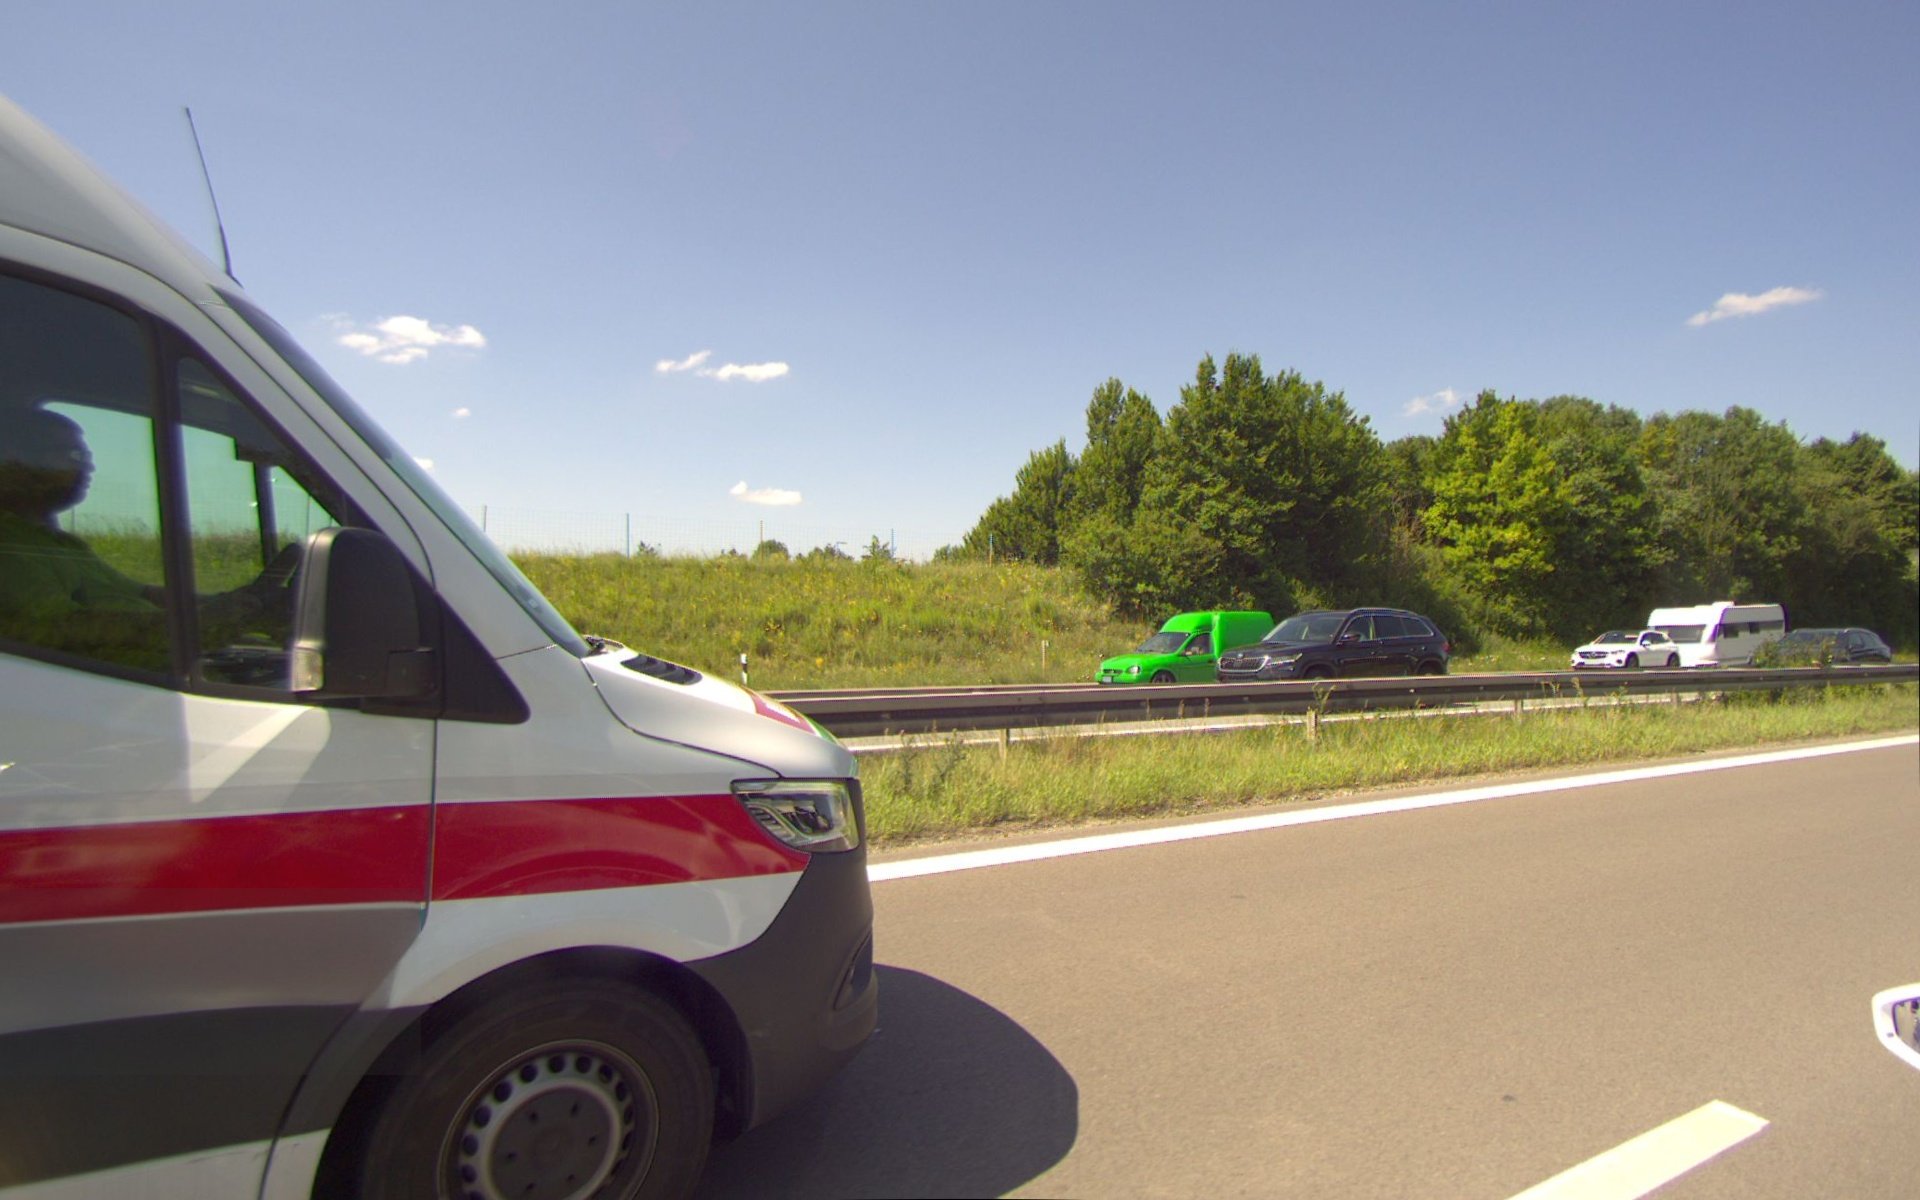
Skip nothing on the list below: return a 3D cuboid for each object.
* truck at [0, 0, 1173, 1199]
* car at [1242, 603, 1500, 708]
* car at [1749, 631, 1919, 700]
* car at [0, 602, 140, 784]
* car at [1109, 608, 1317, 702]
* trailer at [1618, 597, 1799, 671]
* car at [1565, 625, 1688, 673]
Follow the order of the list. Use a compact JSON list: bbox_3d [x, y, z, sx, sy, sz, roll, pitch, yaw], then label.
[{"bbox_3d":[-2.751,0.106,1.940,6.616,2.576,1.983,1,0,-32],"label":"truck"},{"bbox_3d":[7.109,0.943,17.257,4.371,1.594,1.841,3,-2,-30],"label":"car"},{"bbox_3d":[23.115,1.660,26.427,5.029,1.626,1.984,1,-1,-30],"label":"car"},{"bbox_3d":[-9.084,0.710,7.793,3.953,1.408,1.708,1,-1,-30],"label":"car"},{"bbox_3d":[5.444,1.120,21.475,4.331,1.833,1.805,1,-1,-31],"label":"car"},{"bbox_3d":[29.996,1.347,40.146,8.528,2.723,2.719,1,-1,-30],"label":"trailer"},{"bbox_3d":[24.328,1.766,36.614,4.753,1.628,1.838,1,-1,-30],"label":"car"}]
